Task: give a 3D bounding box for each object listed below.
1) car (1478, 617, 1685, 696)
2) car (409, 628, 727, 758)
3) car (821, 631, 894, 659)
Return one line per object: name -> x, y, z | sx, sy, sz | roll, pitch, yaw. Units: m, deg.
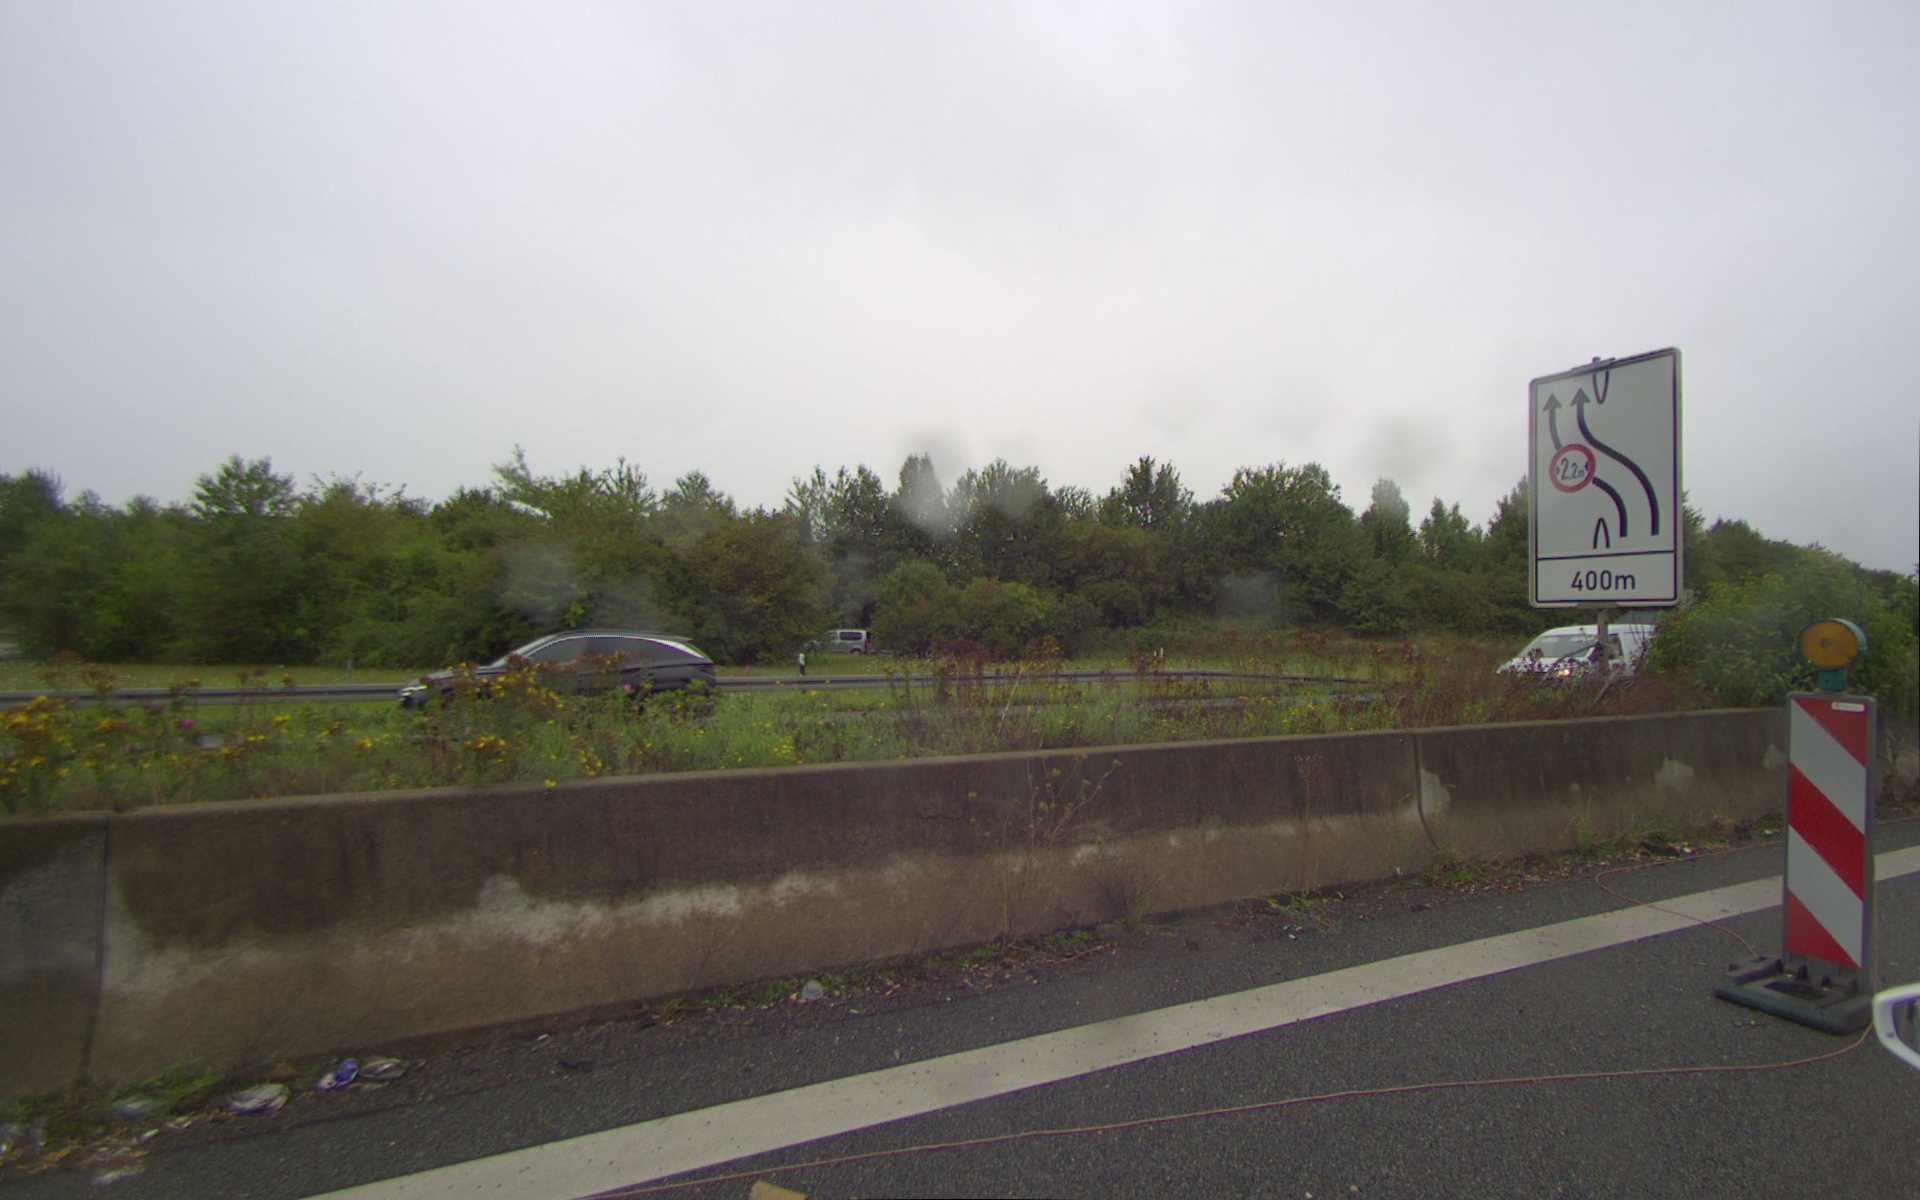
car -> 13.481, 1.163, 21.715 | 4.692, 1.563, 1.859 | 1, -2, -31
car -> -5.891, 1.281, 15.178 | 4.245, 1.684, 1.984 | 1, -2, -30
car -> -5.826, 2.530, 57.172 | 3.835, 1.550, 1.705 | -1, -1, 13
